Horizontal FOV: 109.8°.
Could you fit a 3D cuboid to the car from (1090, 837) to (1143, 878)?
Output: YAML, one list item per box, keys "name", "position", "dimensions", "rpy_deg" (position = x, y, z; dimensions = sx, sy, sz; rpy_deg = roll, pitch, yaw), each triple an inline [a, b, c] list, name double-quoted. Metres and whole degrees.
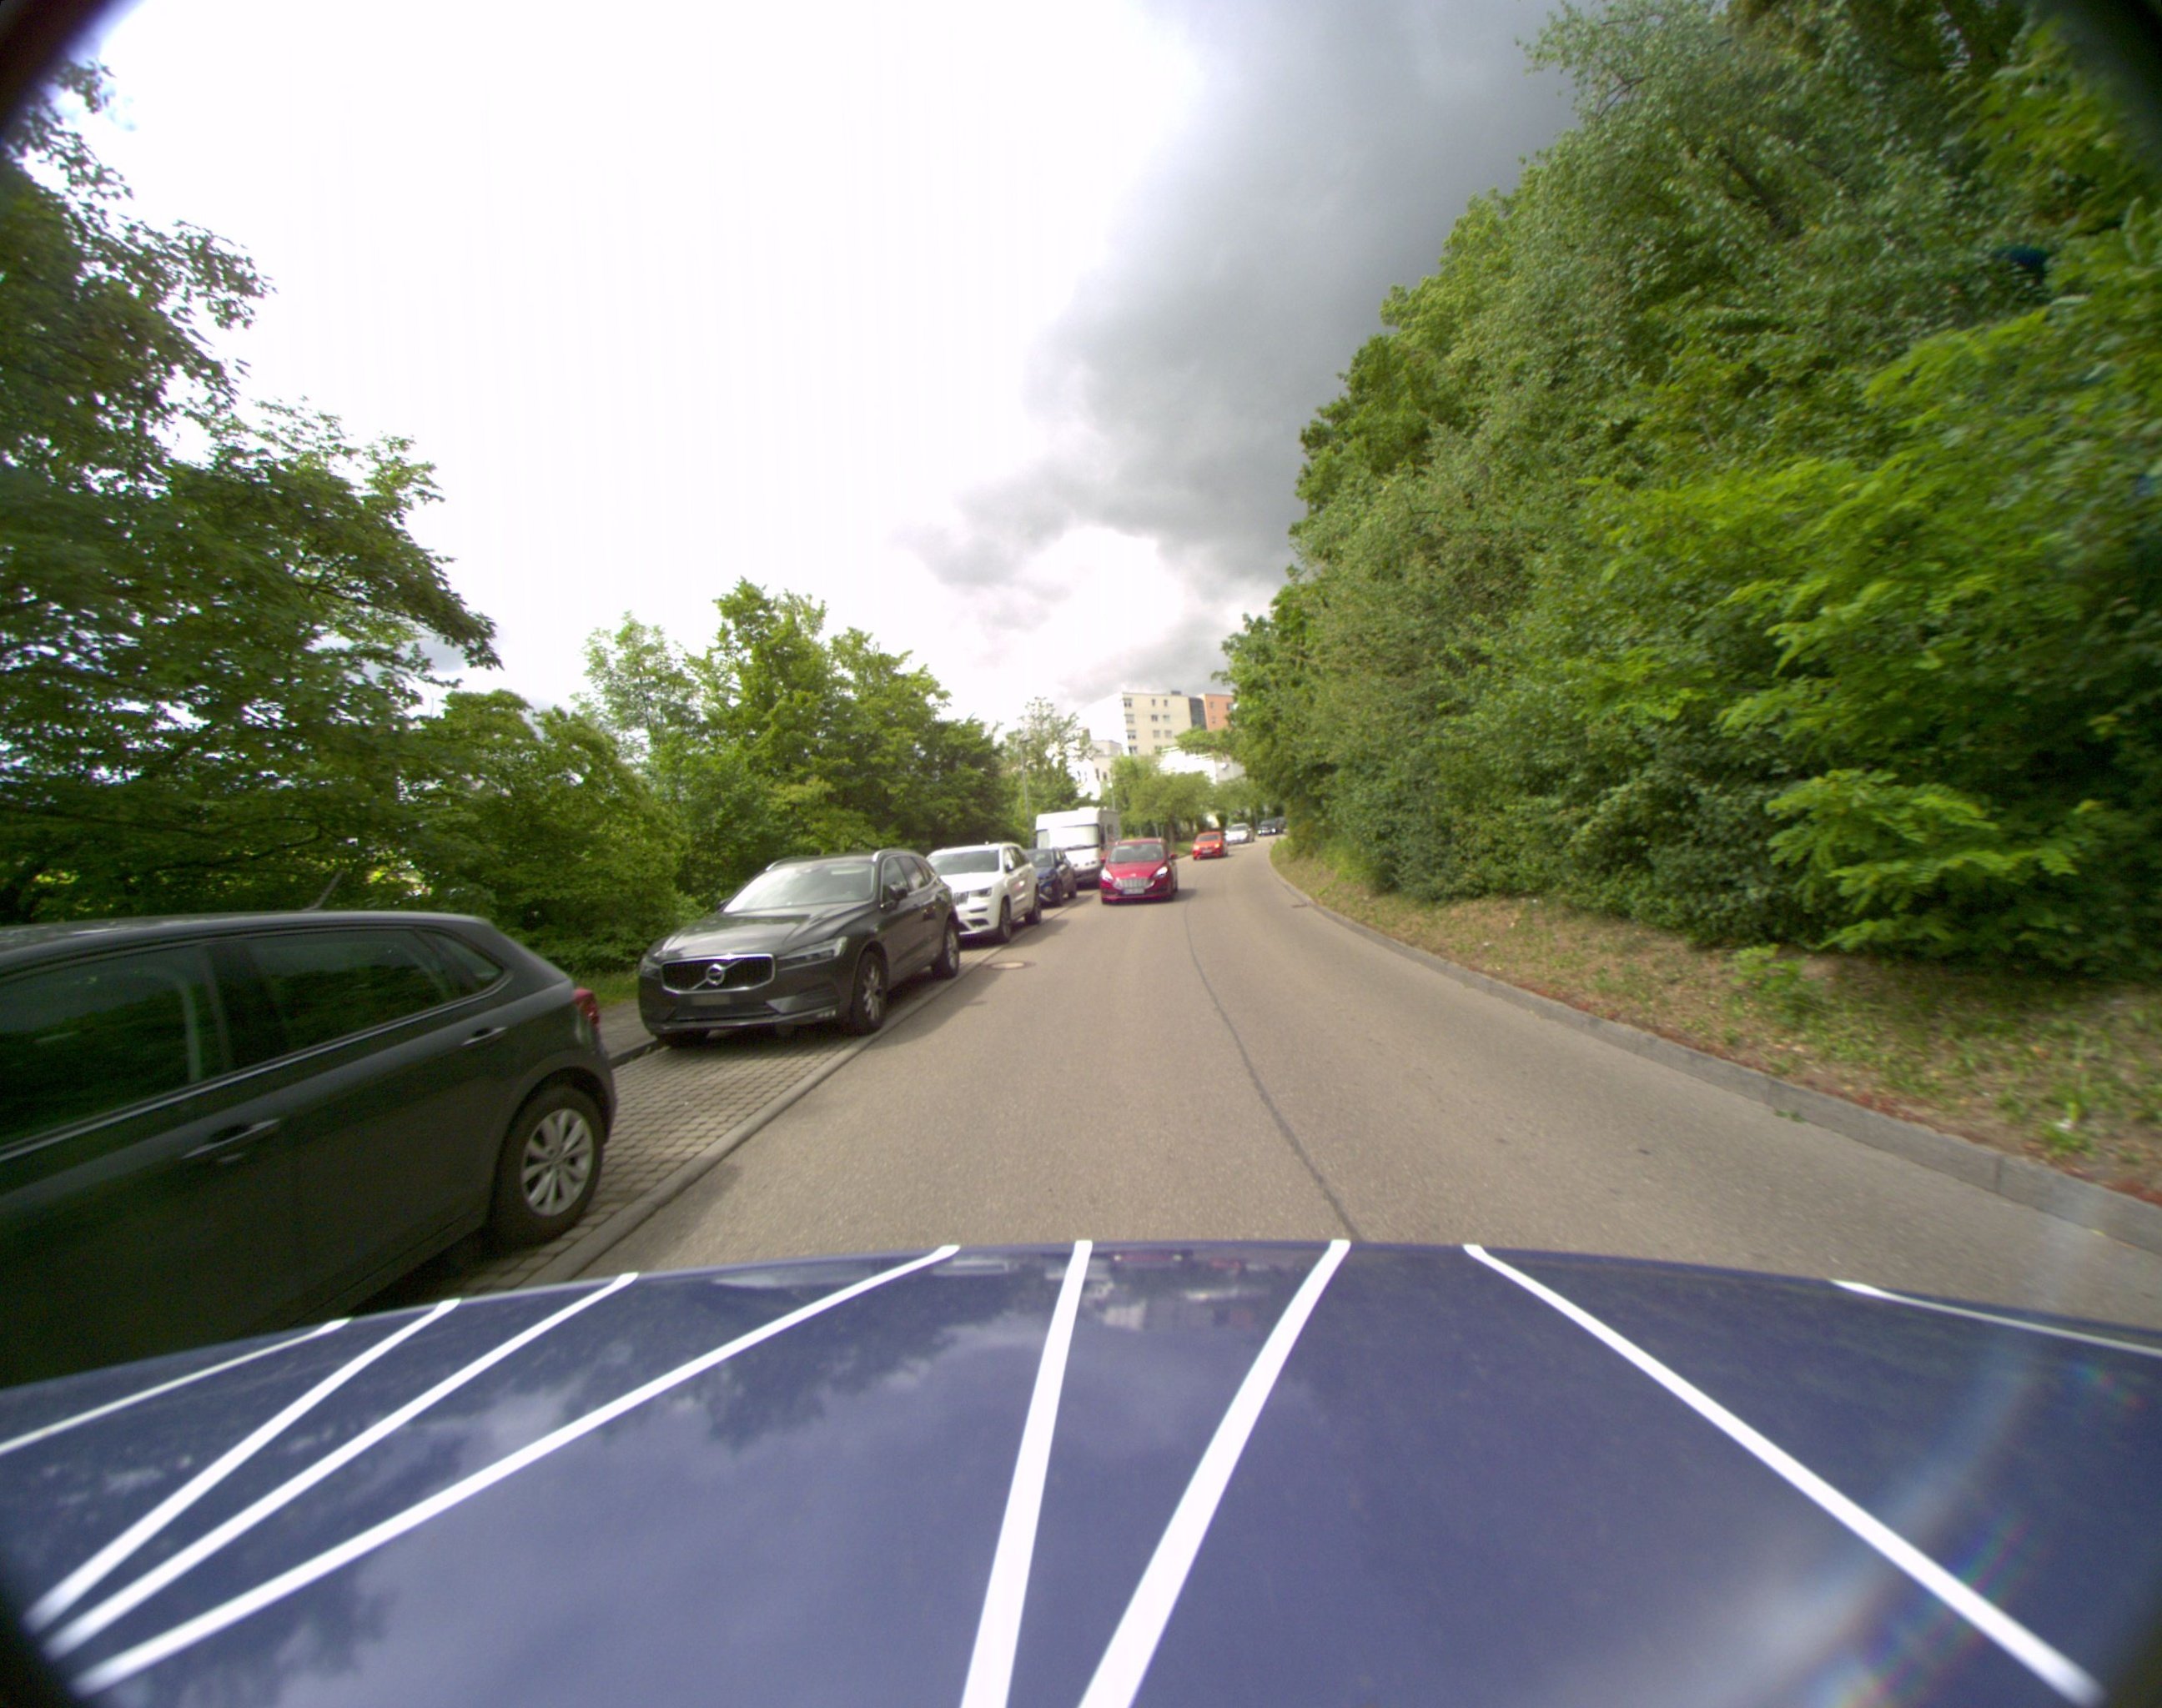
- name: "car"
  position: [1.705, 0.112, 35.141]
  dimensions: [1.732, 1.511, 3.890]
  rpy_deg: [-5, 3, 12]

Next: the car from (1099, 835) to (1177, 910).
- name: "car"
  position: [1.537, 0.410, 20.357]
  dimensions: [1.812, 1.601, 3.721]
  rpy_deg: [-3, 3, 5]

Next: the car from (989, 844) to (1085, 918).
- name: "car"
  position: [-1.083, 0.642, 20.829]
  dimensions: [1.714, 1.582, 4.001]
  rpy_deg: [-6, 1, 8]

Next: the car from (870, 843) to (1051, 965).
- name: "car"
  position: [-1.976, 0.752, 14.098]
  dimensions: [1.875, 1.679, 4.581]
  rpy_deg: [-7, 0, 8]

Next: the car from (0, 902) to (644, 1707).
- name: "car"
  position: [-3.097, 1.071, 1.634]
  dimensions: [1.802, 1.456, 3.999]
  rpy_deg: [-6, 1, 1]

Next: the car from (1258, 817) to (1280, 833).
- name: "car"
  position: [18.200, -2.803, 73.469]
  dimensions: [1.779, 1.412, 4.003]
  rpy_deg: [-6, 1, 15]

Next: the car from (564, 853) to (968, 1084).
- name: "car"
  position: [-2.709, 0.878, 7.848]
  dimensions: [1.998, 1.617, 4.279]
  rpy_deg: [-3, 0, 5]

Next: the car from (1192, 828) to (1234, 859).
- name: "car"
  position: [7.431, -0.643, 43.134]
  dimensions: [1.861, 1.435, 3.999]
  rpy_deg: [-7, 2, 6]

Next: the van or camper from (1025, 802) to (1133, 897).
- name: "van or camper"
  position: [0.129, -0.255, 27.496]
  dimensions: [2.336, 2.853, 6.153]
  rpy_deg: [-6, 1, 12]

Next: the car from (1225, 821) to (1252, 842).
- name: "car"
  position: [12.698, -1.851, 61.499]
  dimensions: [1.779, 1.444, 4.000]
  rpy_deg: [-6, 2, 9]
